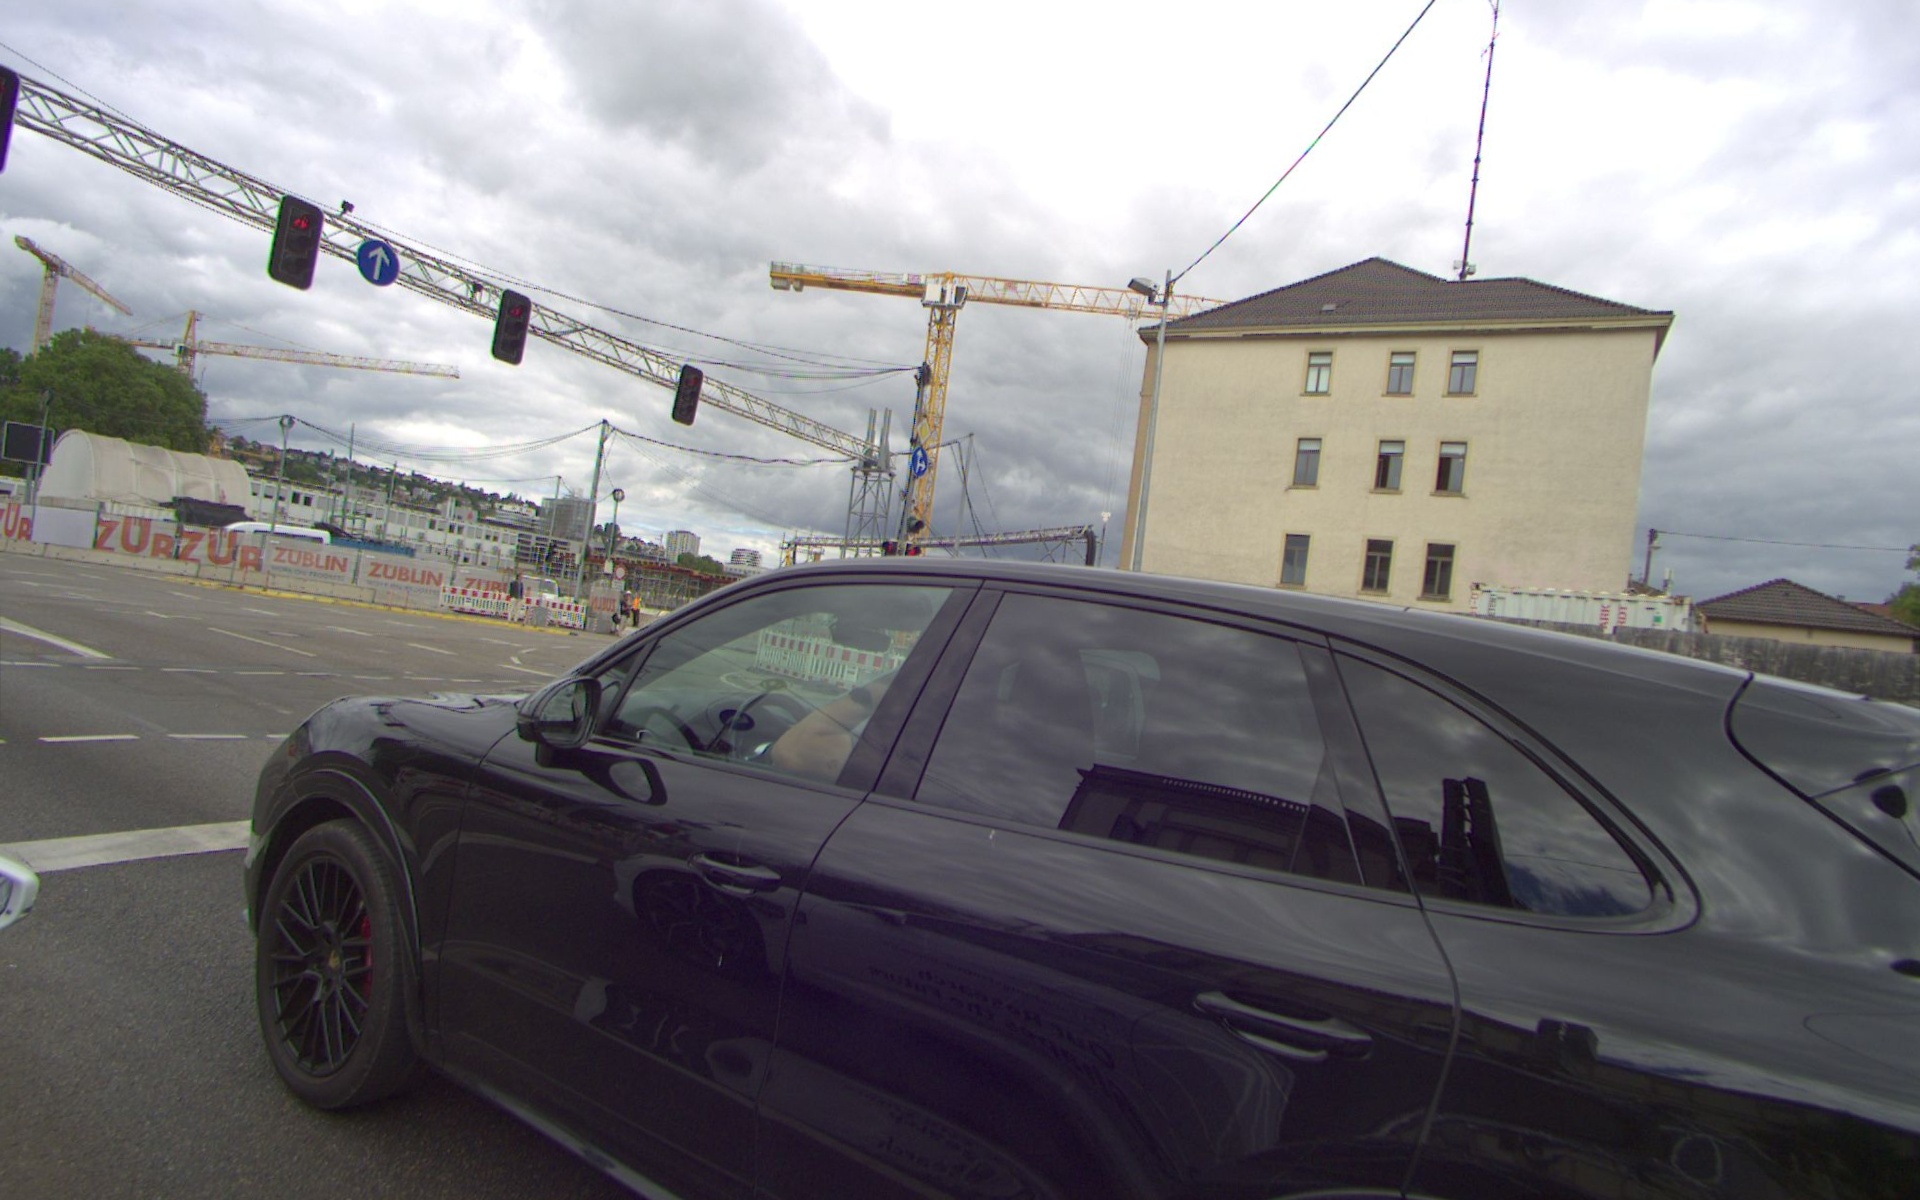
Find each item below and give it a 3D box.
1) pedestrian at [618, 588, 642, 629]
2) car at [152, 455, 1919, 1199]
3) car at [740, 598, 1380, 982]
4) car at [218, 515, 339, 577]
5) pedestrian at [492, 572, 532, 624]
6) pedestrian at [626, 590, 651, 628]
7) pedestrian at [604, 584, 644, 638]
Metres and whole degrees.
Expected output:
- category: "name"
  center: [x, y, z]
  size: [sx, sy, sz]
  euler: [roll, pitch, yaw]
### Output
- category: "pedestrian"
  center: [-17.640, 0.445, 53.821]
  size: [0.855, 2.037, 0.677]
  euler: [6, -1, 44]
- category: "car"
  center: [0.001, 0.686, 2.712]
  size: [4.505, 1.687, 1.996]
  euler: [6, -2, 34]
- category: "car"
  center: [0.582, 0.995, 6.549]
  size: [3.587, 1.527, 1.825]
  euler: [6, -2, 33]
- category: "car"
  center: [-29.524, -2.327, 43.638]
  size: [3.976, 2.037, 1.976]
  euler: [9, -2, -43]
- category: "pedestrian"
  center: [-17.434, -0.071, 39.159]
  size: [1.040, 1.869, 0.781]
  euler: [8, -1, -42]
- category: "pedestrian"
  center: [-17.478, 0.503, 54.693]
  size: [0.850, 1.938, 0.680]
  euler: [7, -1, 26]
- category: "pedestrian"
  center: [-13.772, 0.464, 41.227]
  size: [1.038, 2.037, 1.024]
  euler: [8, -1, -38]
